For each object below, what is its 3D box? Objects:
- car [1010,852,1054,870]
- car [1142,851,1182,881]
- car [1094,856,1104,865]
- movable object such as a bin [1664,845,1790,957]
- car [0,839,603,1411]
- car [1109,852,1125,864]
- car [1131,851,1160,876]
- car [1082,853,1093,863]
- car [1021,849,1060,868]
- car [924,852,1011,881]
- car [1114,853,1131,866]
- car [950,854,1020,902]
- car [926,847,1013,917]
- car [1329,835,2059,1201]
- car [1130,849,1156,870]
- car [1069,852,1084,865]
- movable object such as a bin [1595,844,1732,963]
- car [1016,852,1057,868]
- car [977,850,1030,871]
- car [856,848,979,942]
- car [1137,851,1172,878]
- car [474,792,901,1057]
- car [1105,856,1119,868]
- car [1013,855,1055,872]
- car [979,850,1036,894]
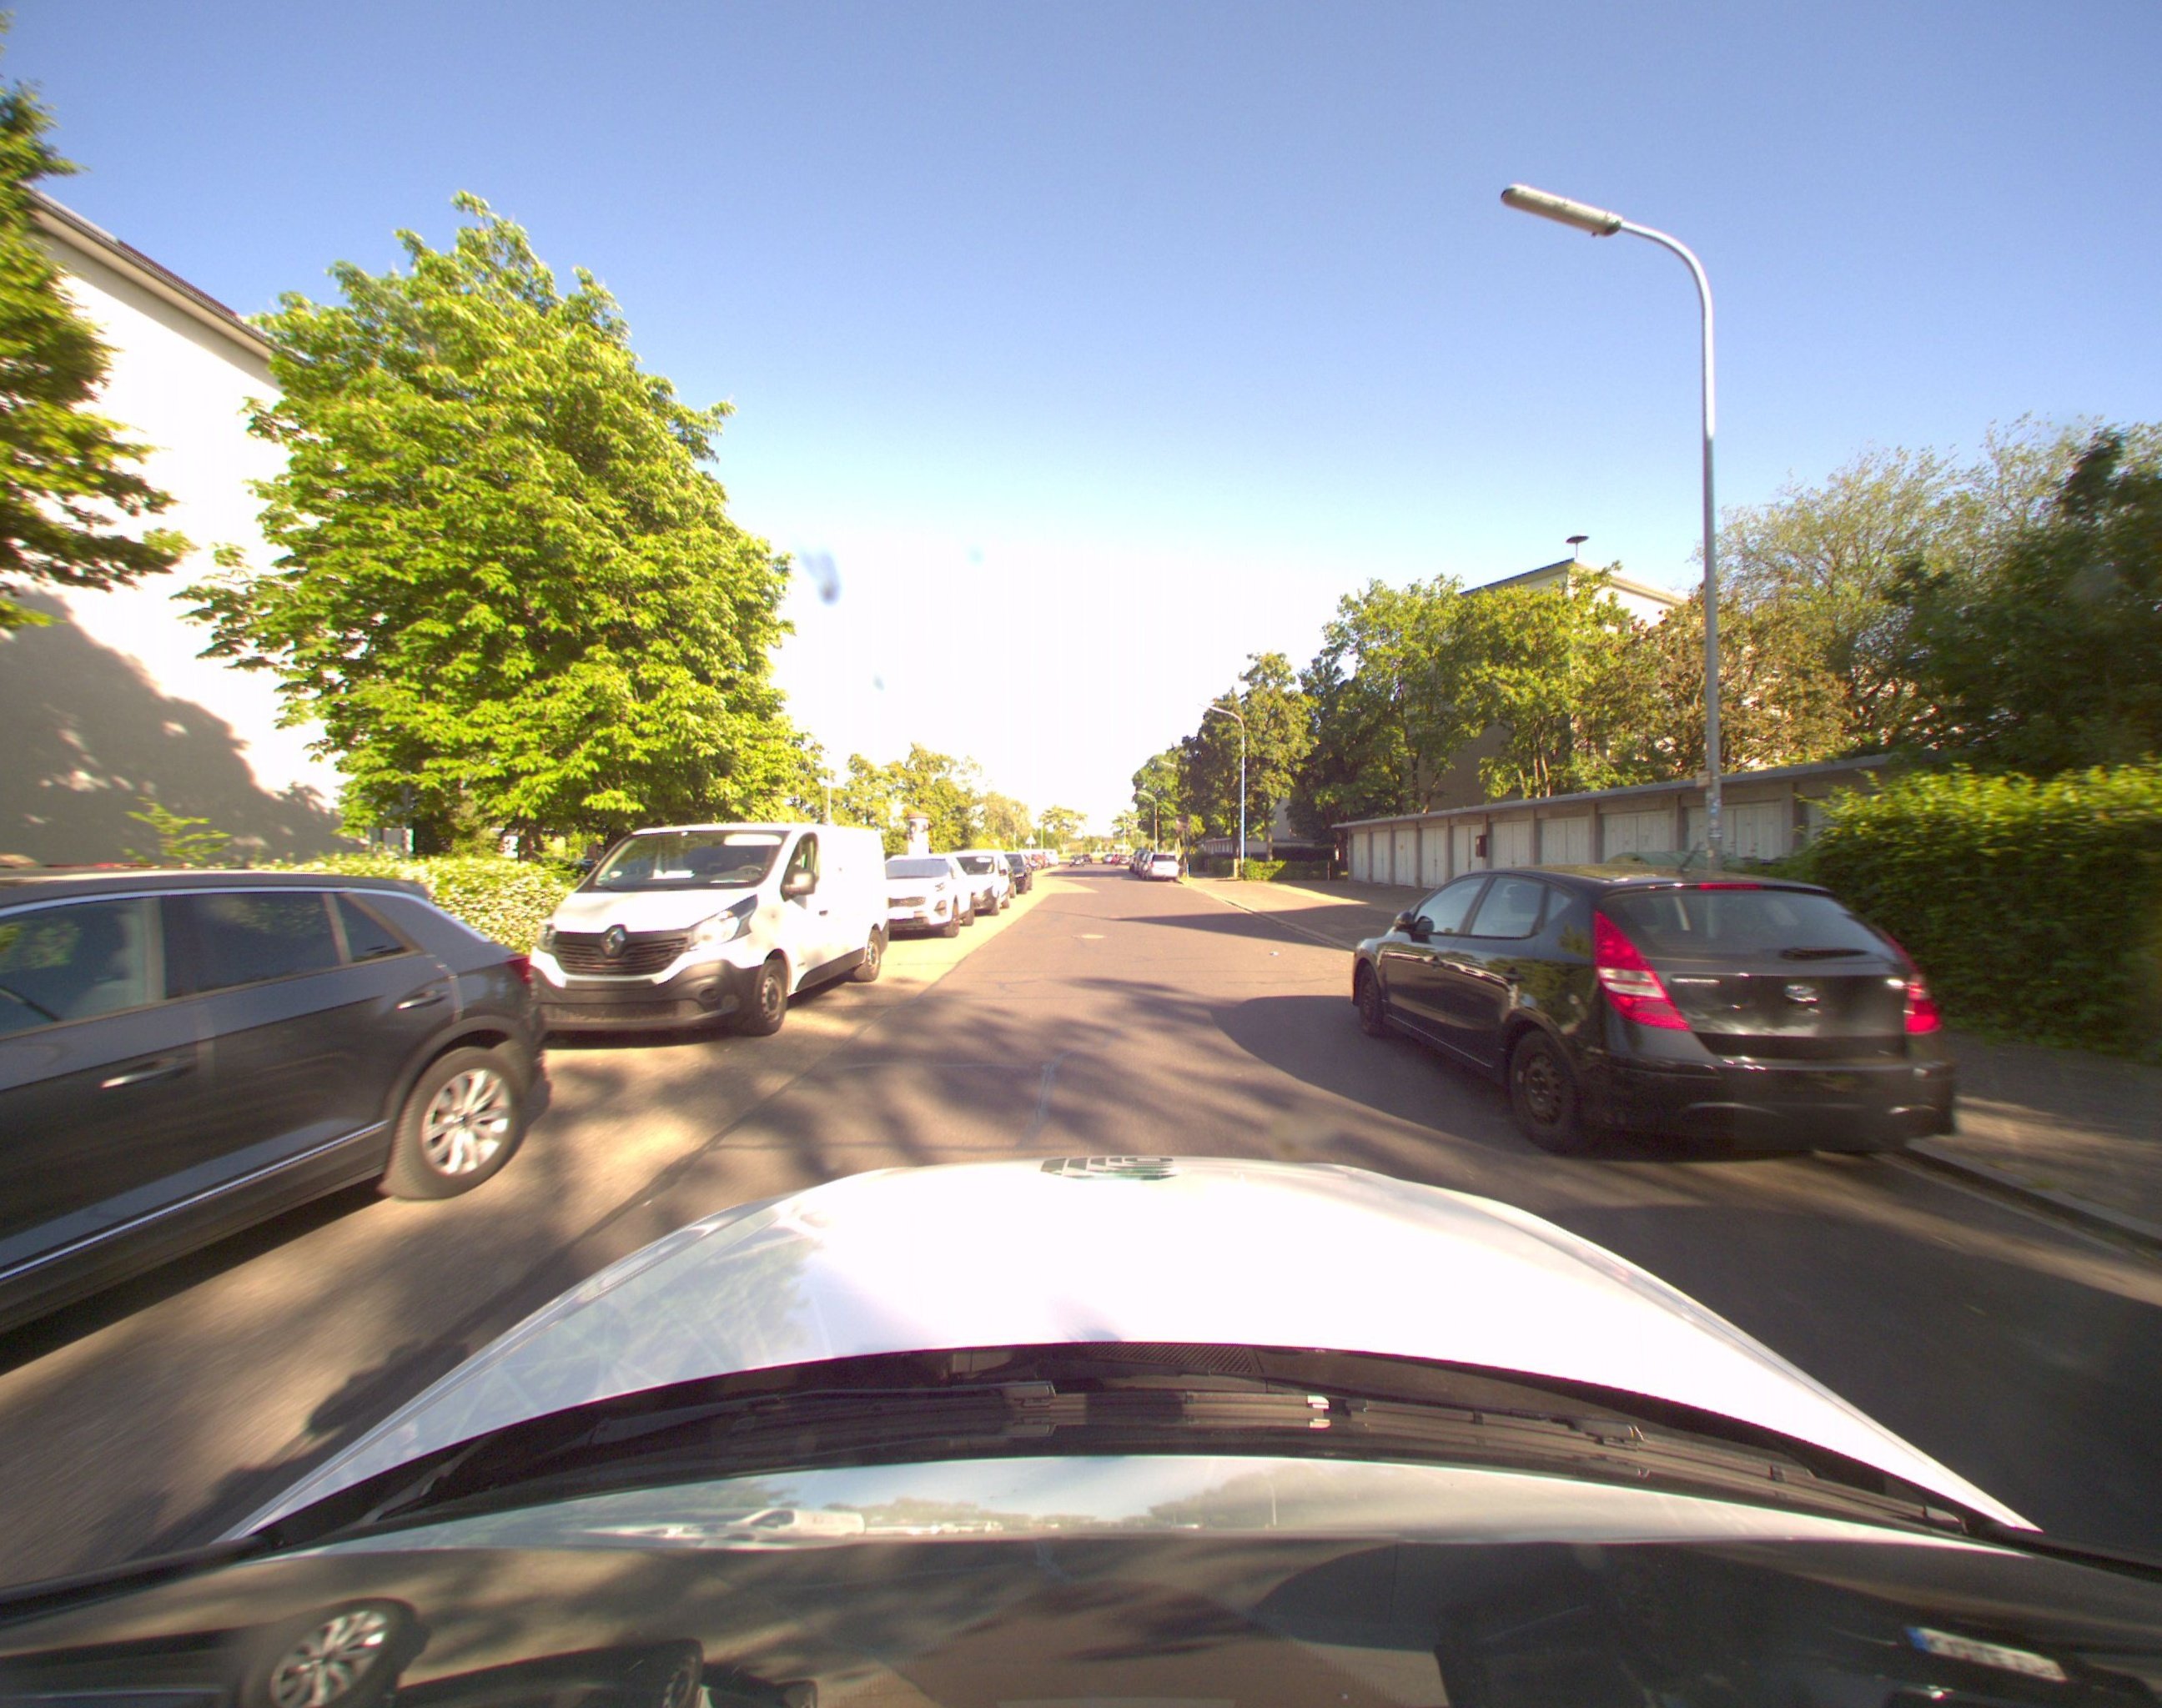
[{"bbox_3d":[-4.514,0.672,75.413,4.045,1.561,1.799,1,0,-4],"label":"car"},{"bbox_3d":[4.508,0.642,45.702,1.790,1.561,3.950,1,0,-1],"label":"car"},{"bbox_3d":[3.622,1.333,164.645,1.790,1.643,3.950,1,0,-1],"label":"car"},{"bbox_3d":[8.739,0.612,11.064,0.914,1.454,1.026,0,0,1],"label":"movable object such as a bin"},{"bbox_3d":[-3.753,0.743,2.627,1.739,1.533,4.143,-1,0,4],"label":"car"},{"bbox_3d":[4.778,0.522,108.751,1.790,1.643,3.950,1,0,-1],"label":"car"},{"bbox_3d":[4.855,0.704,61.665,1.790,1.786,3.950,1,0,-1],"label":"car"},{"bbox_3d":[1.007,0.634,132.450,1.675,1.513,4.102,2,0,-1],"label":"car"},{"bbox_3d":[-4.378,0.508,88.018,4.045,1.992,1.799,1,0,-4],"label":"car"},{"bbox_3d":[-6.153,0.660,44.523,4.369,1.436,1.844,-1,0,2],"label":"car"},{"bbox_3d":[5.137,0.703,100.964,1.790,1.548,3.950,1,0,-1],"label":"car"},{"bbox_3d":[-3.169,0.762,27.591,1.740,1.478,4.154,-1,0,1],"label":"car"},{"bbox_3d":[-2.984,0.709,22.630,1.740,1.732,4.006,-1,0,1],"label":"car"},{"bbox_3d":[3.272,0.699,5.642,1.901,1.531,4.329,1,0,1],"label":"car"},{"bbox_3d":[5.020,0.450,66.198,1.790,1.643,3.950,1,0,-1],"label":"car"},{"bbox_3d":[-0.547,0.517,97.887,1.790,1.561,3.950,1,0,-1],"label":"car"},{"bbox_3d":[7.505,0.601,10.571,0.914,1.454,1.233,0,0,1],"label":"movable object such as a bin"},{"bbox_3d":[-4.527,0.608,82.435,4.045,1.561,1.799,1,0,-4],"label":"car"},{"bbox_3d":[-6.067,0.526,64.000,4.045,1.561,1.799,1,0,-4],"label":"car"},{"bbox_3d":[-3.235,0.736,16.969,1.741,1.669,4.375,-1,0,-1],"label":"car"},{"bbox_3d":[4.569,0.639,51.084,1.790,1.561,3.950,1,0,-1],"label":"car"},{"bbox_3d":[-3.541,0.530,8.689,1.907,1.962,5.089,-1,0,2],"label":"car"},{"bbox_3d":[4.494,1.099,118.401,1.790,1.643,3.950,1,0,-1],"label":"car"},{"bbox_3d":[-4.567,0.891,79.479,4.045,1.561,1.799,1,0,-4],"label":"car"},{"bbox_3d":[-2.874,0.665,32.661,1.740,1.613,4.309,-1,0,1],"label":"car"}]
